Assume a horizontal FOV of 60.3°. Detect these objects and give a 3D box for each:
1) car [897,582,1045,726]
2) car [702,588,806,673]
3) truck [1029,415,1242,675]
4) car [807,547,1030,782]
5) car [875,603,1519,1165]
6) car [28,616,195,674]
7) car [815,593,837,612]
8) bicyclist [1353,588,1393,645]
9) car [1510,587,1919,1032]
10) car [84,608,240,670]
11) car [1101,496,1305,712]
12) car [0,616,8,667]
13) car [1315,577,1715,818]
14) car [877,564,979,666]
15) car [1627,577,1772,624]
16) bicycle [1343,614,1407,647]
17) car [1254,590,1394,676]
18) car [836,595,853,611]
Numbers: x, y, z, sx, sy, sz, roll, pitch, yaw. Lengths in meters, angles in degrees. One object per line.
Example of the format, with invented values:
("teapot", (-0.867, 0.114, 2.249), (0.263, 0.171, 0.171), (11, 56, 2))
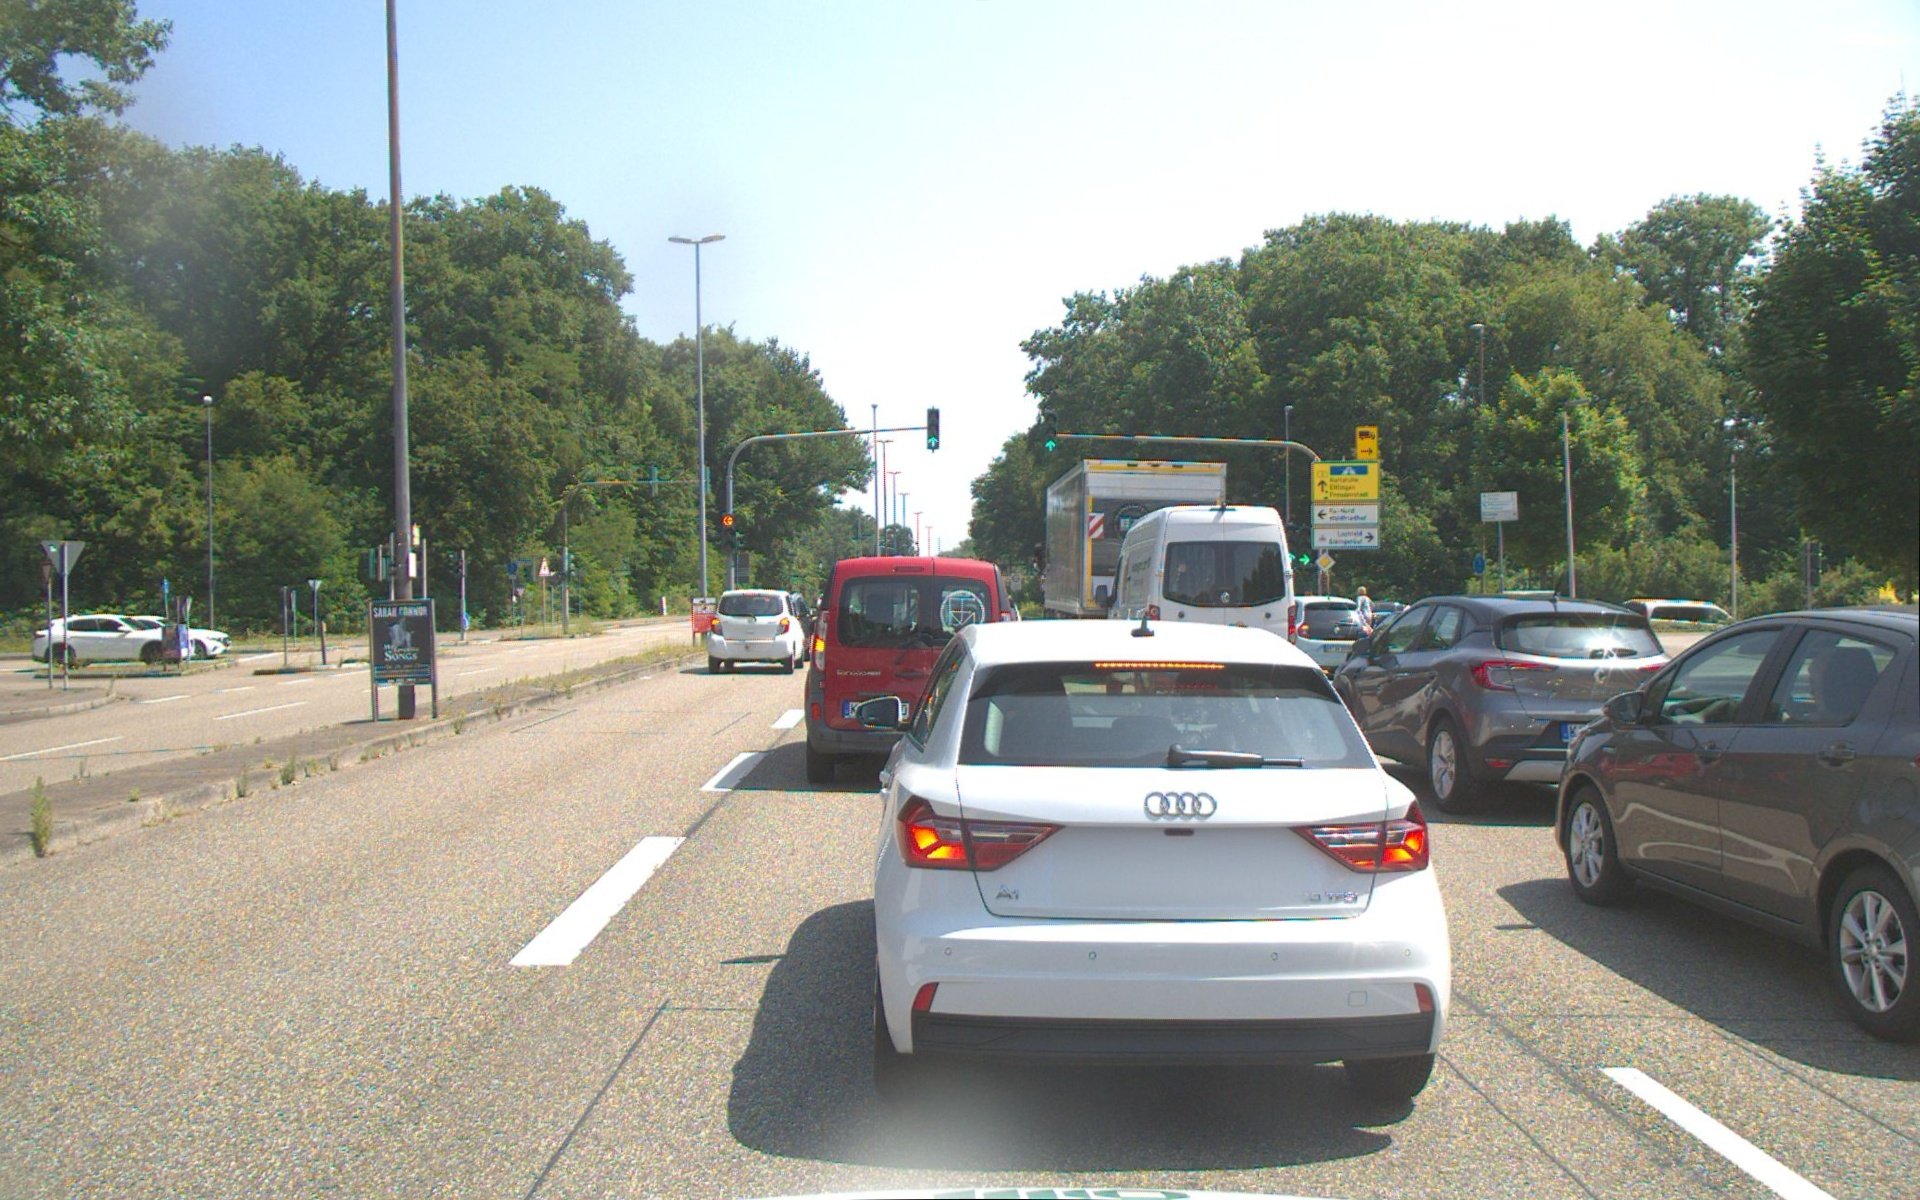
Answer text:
("car", (0.053, 0.613, 21.170), (1.677, 1.660, 4.090), (0, 0, -3))
("car", (-3.917, 0.544, 32.003), (1.677, 1.519, 4.090), (0, 0, -3))
("truck", (3.314, -0.992, 34.741), (3.026, 4.511, 11.577), (1, 0, -1))
("car", (-0.402, 0.480, 14.573), (1.677, 1.779, 4.090), (0, 0, -3))
("car", (0.532, 0.733, 6.323), (1.677, 1.410, 4.090), (0, 0, -3))
("car", (-26.743, 1.414, 52.260), (4.290, 1.711, 1.807), (1, -1, -9))
("car", (-13.427, 0.227, 165.354), (1.953, 1.803, 4.203), (-1, 0, -2))
("bicyclist", (10.682, 0.425, 42.770), (0.820, 1.464, 0.591), (-1, 0, -36))
("car", (4.041, 0.743, 7.266), (1.678, 1.504, 4.090), (3, 0, -3))
("car", (-27.004, 1.299, 56.074), (4.291, 1.710, 1.807), (-4, 0, -9))
("car", (3.233, 0.044, 23.024), (1.990, 2.690, 4.843), (0, 0, -2))
("car", (-34.468, 1.363, 55.142), (4.294, 1.711, 1.805), (1, -1, -13))
("car", (4.198, 0.647, 13.224), (1.677, 1.621, 4.090), (0, 0, -3))
("car", (-0.612, 0.237, 29.150), (1.677, 1.660, 4.090), (0, 0, -3))
("car", (26.475, 0.013, 59.315), (4.381, 1.557, 1.797), (-1, 0, -2))
("bicycle", (10.764, 0.783, 42.844), (1.807, 0.779, 0.593), (-1, 0, -36))
("car", (7.037, 0.592, 32.393), (1.677, 1.573, 4.090), (0, 0, -3))
("car", (-13.181, 0.383, 188.980), (1.793, 1.758, 3.999), (-1, 0, -2))
